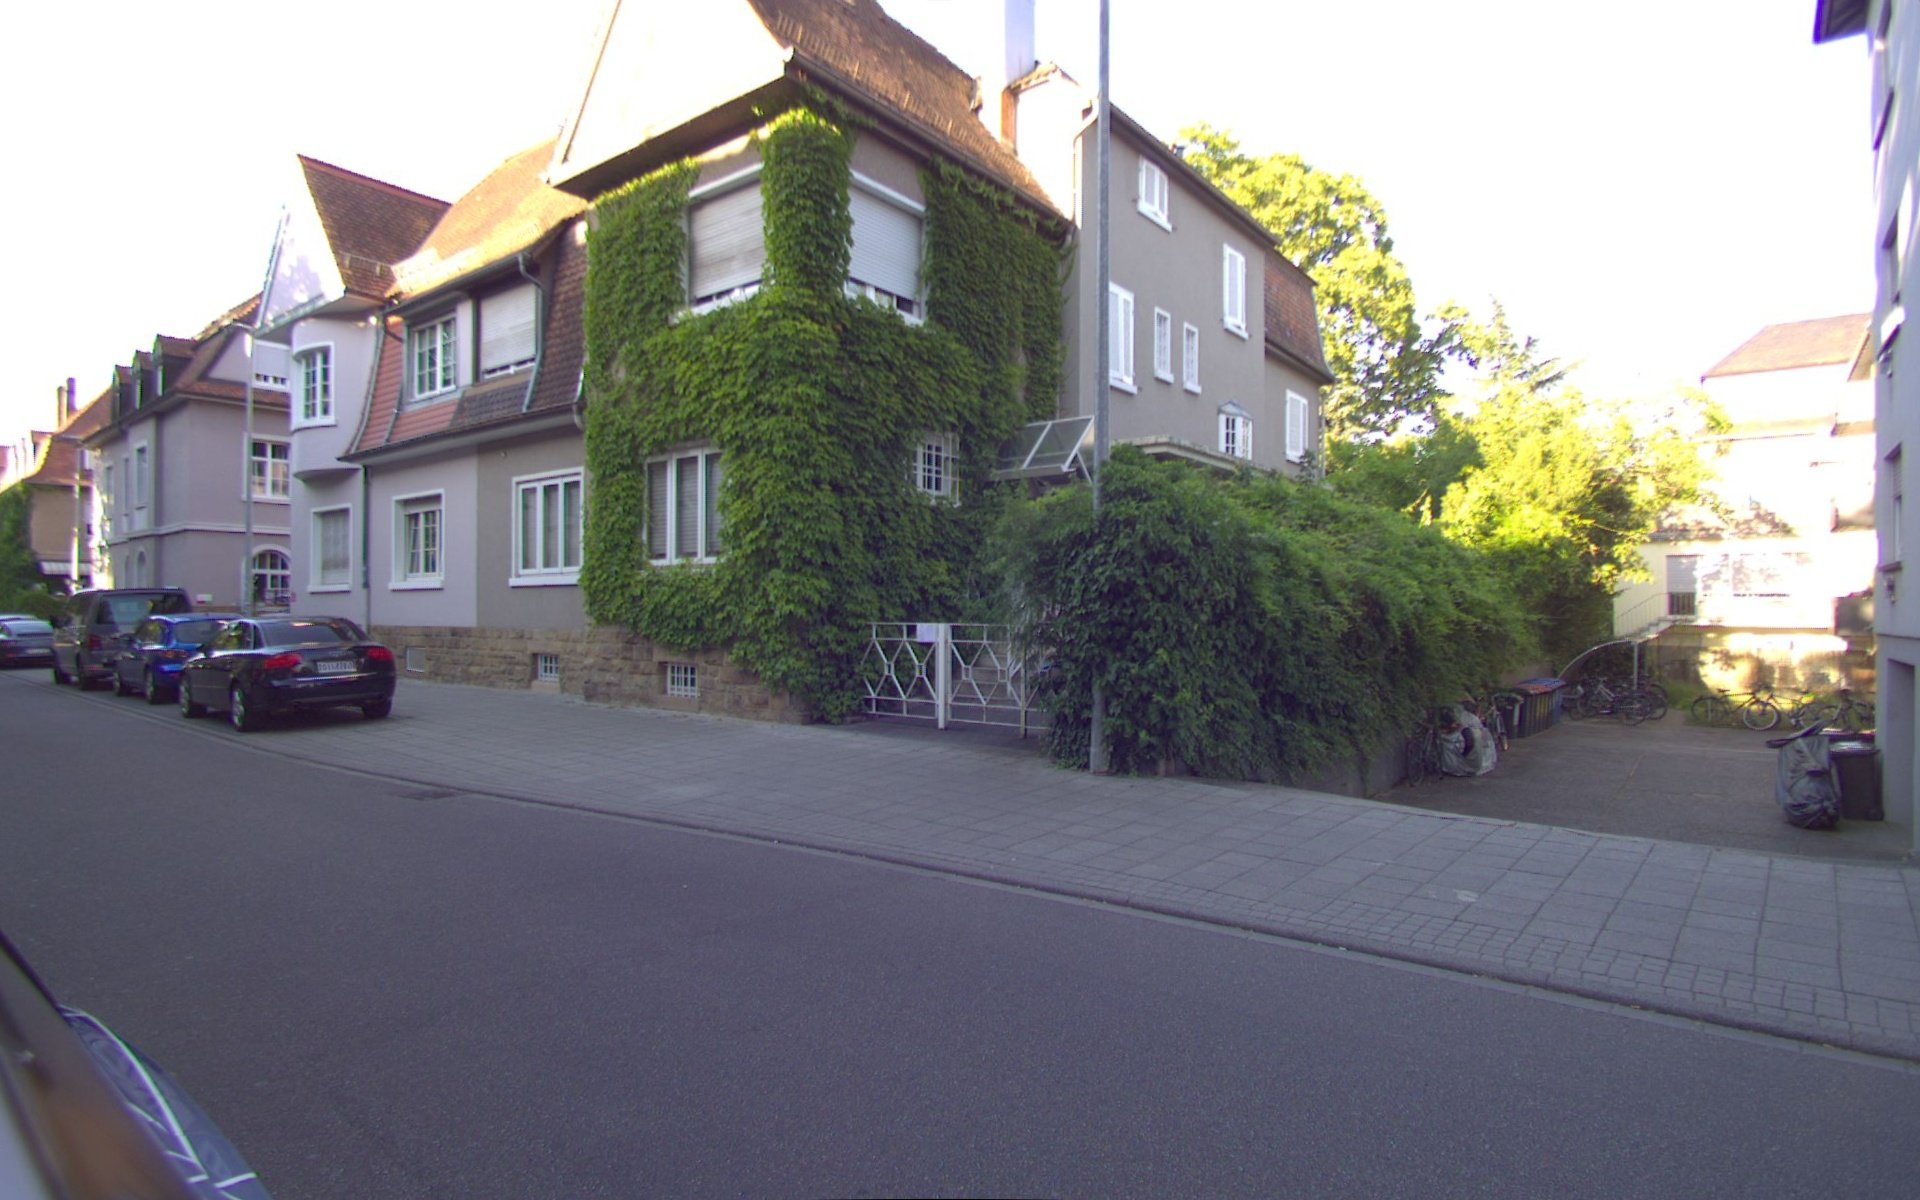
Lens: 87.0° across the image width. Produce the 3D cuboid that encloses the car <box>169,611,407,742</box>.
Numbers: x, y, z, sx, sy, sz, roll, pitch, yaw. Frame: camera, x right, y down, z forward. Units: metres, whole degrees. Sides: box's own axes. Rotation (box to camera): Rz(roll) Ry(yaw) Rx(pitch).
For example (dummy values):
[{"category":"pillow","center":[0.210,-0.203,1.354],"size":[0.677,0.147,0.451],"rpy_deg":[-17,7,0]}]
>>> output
[{"category":"car","center":[-9.297,0.925,13.880],"size":[4.023,1.439,1.729],"rpy_deg":[0,2,42]}]

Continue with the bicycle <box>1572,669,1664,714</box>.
[{"category":"bicycle","center":[18.144,2.502,27.945],"size":[2.068,1.028,0.608],"rpy_deg":[1,3,41]}]

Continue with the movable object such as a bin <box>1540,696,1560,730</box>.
[{"category":"movable object such as a bin","center":[13.792,2.644,23.645],"size":[0.346,0.764,0.359],"rpy_deg":[-1,-4,41]}]

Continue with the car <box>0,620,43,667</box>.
[{"category":"car","center":[-30.321,1.339,31.938],"size":[3.942,1.381,1.522],"rpy_deg":[-1,1,40]}]

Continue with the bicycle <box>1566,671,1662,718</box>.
[{"category":"bicycle","center":[17.376,2.489,26.929],"size":[2.068,1.028,0.565],"rpy_deg":[1,3,41]}]

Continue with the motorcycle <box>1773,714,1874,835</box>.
[{"category":"motorcycle","center":[10.725,2.120,12.622],"size":[0.757,1.261,1.575],"rpy_deg":[-1,-3,34]}]

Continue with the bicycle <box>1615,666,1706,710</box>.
[{"category":"bicycle","center":[19.863,2.479,28.716],"size":[2.068,1.028,0.561],"rpy_deg":[1,3,41]}]

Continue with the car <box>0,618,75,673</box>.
[{"category":"car","center":[-26.324,1.235,28.325],"size":[4.331,1.381,1.698],"rpy_deg":[-1,1,40]}]

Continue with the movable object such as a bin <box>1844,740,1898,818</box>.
[{"category":"movable object such as a bin","center":[11.772,2.298,13.088],"size":[0.432,0.894,0.717],"rpy_deg":[-1,-3,37]}]

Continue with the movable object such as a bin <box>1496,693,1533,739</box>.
[{"category":"movable object such as a bin","center":[11.555,2.413,21.084],"size":[0.576,0.886,0.488],"rpy_deg":[0,-3,41]}]

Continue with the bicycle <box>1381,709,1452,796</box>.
[{"category":"bicycle","center":[6.832,2.232,15.108],"size":[0.514,1.027,1.914],"rpy_deg":[1,0,38]}]

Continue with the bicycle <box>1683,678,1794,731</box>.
[{"category":"bicycle","center":[18.725,2.502,24.380],"size":[2.068,1.028,0.634],"rpy_deg":[1,3,41]}]

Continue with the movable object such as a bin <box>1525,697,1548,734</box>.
[{"category":"movable object such as a bin","center":[12.782,2.554,22.454],"size":[0.381,0.779,0.359],"rpy_deg":[-1,-4,41]}]

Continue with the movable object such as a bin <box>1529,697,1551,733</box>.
[{"category":"movable object such as a bin","center":[13.033,2.582,22.755],"size":[0.375,0.764,0.359],"rpy_deg":[-1,-4,41]}]

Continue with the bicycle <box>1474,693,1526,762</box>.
[{"category":"bicycle","center":[9.968,2.319,18.661],"size":[0.514,1.027,1.914],"rpy_deg":[1,0,38]}]

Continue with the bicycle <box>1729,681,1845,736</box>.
[{"category":"bicycle","center":[19.394,2.519,23.765],"size":[2.068,1.028,0.634],"rpy_deg":[1,3,41]}]

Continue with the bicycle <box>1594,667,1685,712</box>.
[{"category":"bicycle","center":[19.061,2.490,28.411],"size":[2.068,1.028,0.608],"rpy_deg":[1,3,41]}]

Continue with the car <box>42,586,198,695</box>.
[{"category":"car","center":[-17.452,0.756,20.952],"size":[4.308,1.987,1.698],"rpy_deg":[0,2,40]}]

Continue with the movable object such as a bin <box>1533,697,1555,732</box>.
[{"category":"movable object such as a bin","center":[13.296,2.603,23.048],"size":[0.367,0.764,0.359],"rpy_deg":[-1,-4,41]}]

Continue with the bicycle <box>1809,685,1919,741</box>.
[{"category":"bicycle","center":[20.484,2.534,22.796],"size":[2.068,1.028,0.634],"rpy_deg":[1,3,41]}]

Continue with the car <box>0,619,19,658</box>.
[{"category":"car","center":[-36.477,1.447,37.634],"size":[3.942,1.381,1.698],"rpy_deg":[-1,1,40]}]

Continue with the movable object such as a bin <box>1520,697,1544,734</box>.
[{"category":"movable object such as a bin","center":[12.513,2.519,22.151],"size":[0.398,0.779,0.359],"rpy_deg":[-1,-4,41]}]

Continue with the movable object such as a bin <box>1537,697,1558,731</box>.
[{"category":"movable object such as a bin","center":[13.547,2.624,23.344],"size":[0.367,0.764,0.359],"rpy_deg":[-1,-4,41]}]

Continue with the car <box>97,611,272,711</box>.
[{"category":"car","center":[-13.733,0.985,17.848],"size":[4.021,1.475,1.591],"rpy_deg":[0,2,40]}]

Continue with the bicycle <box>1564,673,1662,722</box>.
[{"category":"bicycle","center":[16.952,2.517,26.310],"size":[2.068,1.028,0.634],"rpy_deg":[1,3,41]}]
